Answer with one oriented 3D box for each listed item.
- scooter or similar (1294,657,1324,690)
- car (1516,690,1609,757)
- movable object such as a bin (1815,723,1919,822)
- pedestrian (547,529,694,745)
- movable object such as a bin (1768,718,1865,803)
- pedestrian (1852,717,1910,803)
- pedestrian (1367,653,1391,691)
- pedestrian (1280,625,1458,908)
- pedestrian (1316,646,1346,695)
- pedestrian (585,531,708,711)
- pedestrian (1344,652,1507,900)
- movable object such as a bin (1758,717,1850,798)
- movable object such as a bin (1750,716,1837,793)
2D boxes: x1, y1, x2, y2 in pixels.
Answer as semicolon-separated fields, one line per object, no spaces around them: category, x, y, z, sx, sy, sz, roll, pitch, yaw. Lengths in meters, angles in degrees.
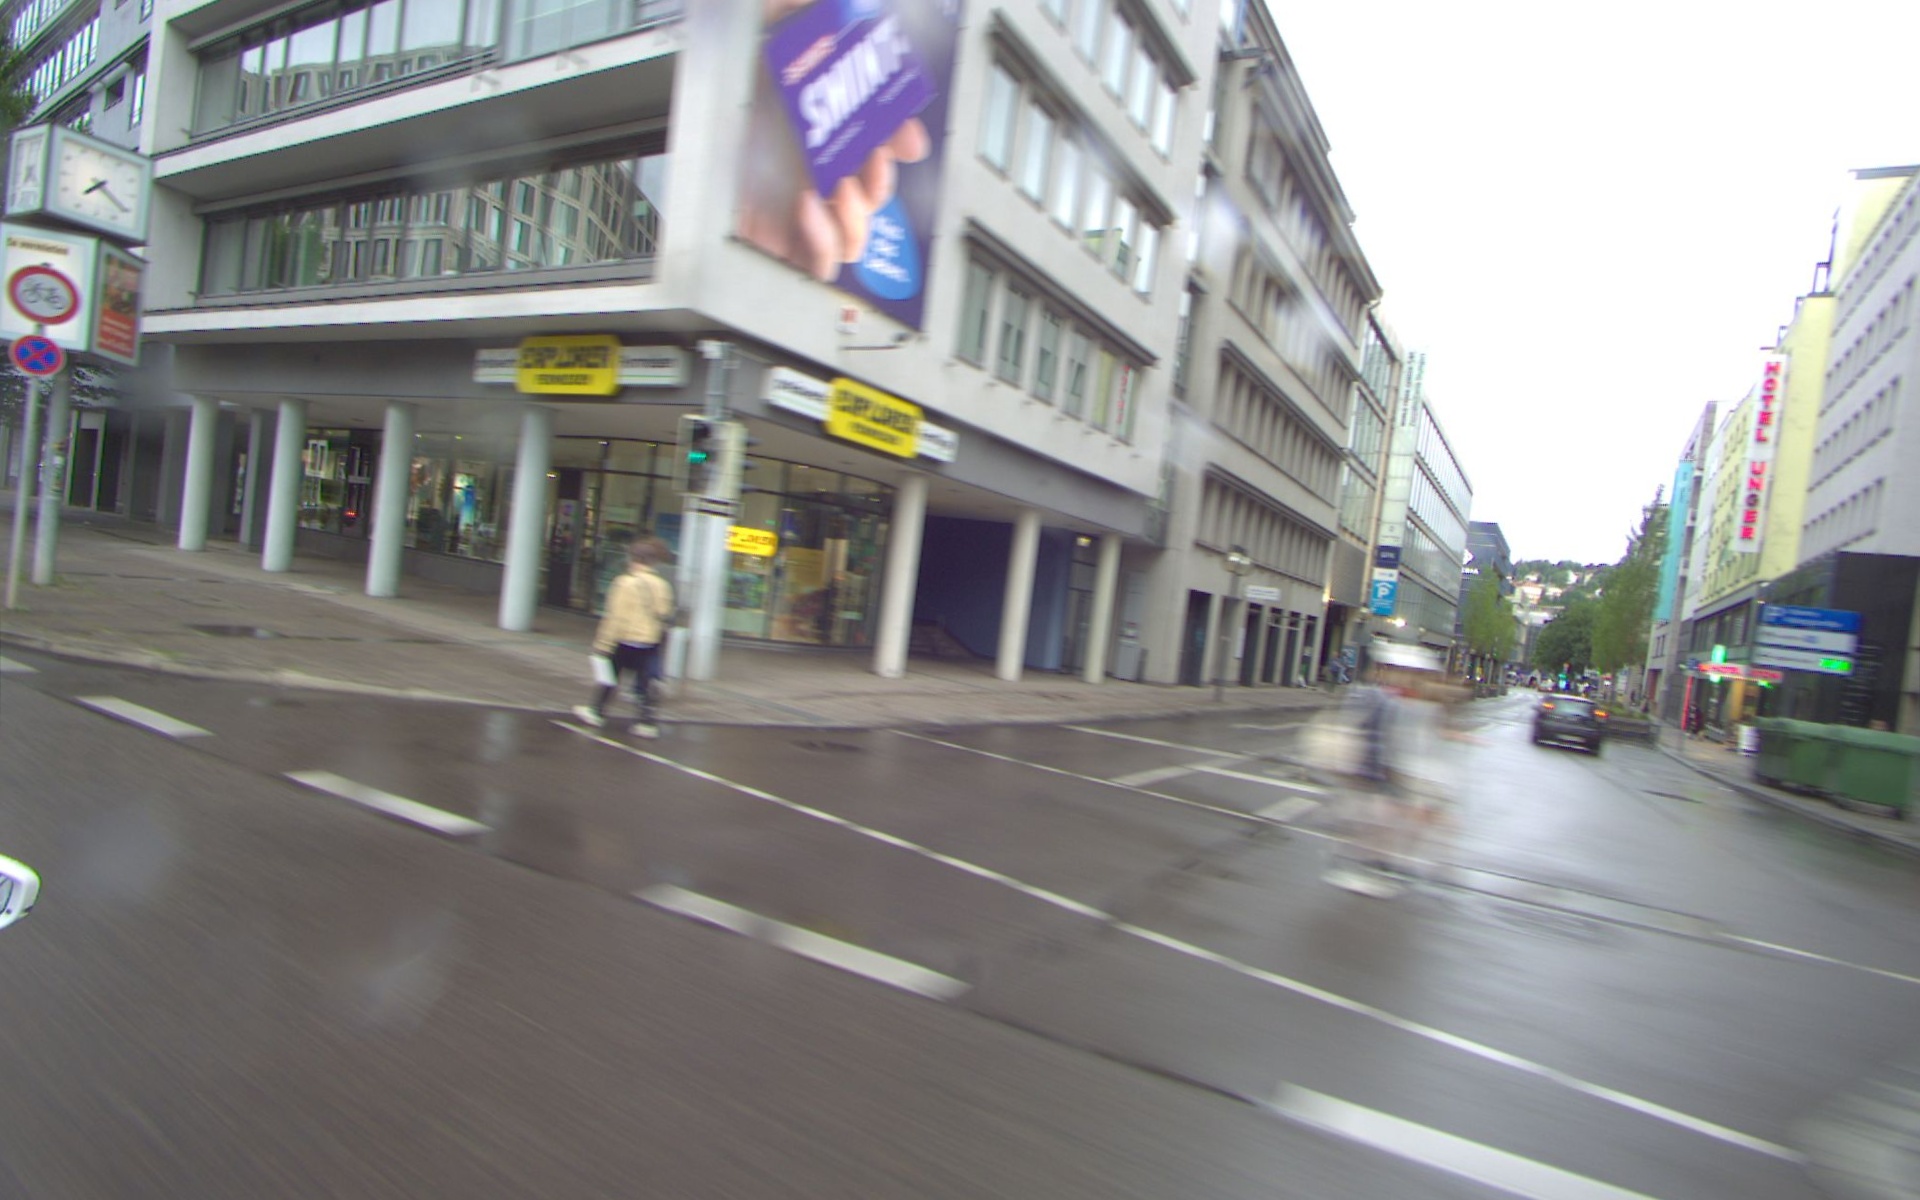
scooter or similar;14.953;3.153;43.134;1.178;1.304;0.242;7;0;-18
car;16.727;3.377;28.083;1.547;1.446;3.999;6;-1;23
movable object such as a bin;16.080;3.003;17.722;1.260;1.448;0.967;8;1;33
pedestrian;-3.108;0.334;9.228;0.803;1.820;0.749;8;1;31
movable object such as a bin;16.933;3.145;19.933;1.179;1.400;1.101;8;1;33
pedestrian;20.408;3.529;22.304;0.586;1.753;0.772;7;1;25
pedestrian;21.768;3.748;52.264;0.805;1.896;0.853;7;0;31
pedestrian;2.660;1.055;6.560;0.664;1.676;0.647;6;0;-36
pedestrian;15.261;2.891;41.358;0.805;1.896;0.853;7;0;31
pedestrian;-3.416;0.231;10.983;0.803;1.820;0.749;8;1;31
pedestrian;3.222;1.191;6.982;0.620;1.562;0.647;6;0;-35
movable object such as a bin;17.542;3.252;20.947;1.179;1.400;1.101;8;1;33
movable object such as a bin;18.135;3.339;21.929;1.179;1.400;1.101;8;1;33
